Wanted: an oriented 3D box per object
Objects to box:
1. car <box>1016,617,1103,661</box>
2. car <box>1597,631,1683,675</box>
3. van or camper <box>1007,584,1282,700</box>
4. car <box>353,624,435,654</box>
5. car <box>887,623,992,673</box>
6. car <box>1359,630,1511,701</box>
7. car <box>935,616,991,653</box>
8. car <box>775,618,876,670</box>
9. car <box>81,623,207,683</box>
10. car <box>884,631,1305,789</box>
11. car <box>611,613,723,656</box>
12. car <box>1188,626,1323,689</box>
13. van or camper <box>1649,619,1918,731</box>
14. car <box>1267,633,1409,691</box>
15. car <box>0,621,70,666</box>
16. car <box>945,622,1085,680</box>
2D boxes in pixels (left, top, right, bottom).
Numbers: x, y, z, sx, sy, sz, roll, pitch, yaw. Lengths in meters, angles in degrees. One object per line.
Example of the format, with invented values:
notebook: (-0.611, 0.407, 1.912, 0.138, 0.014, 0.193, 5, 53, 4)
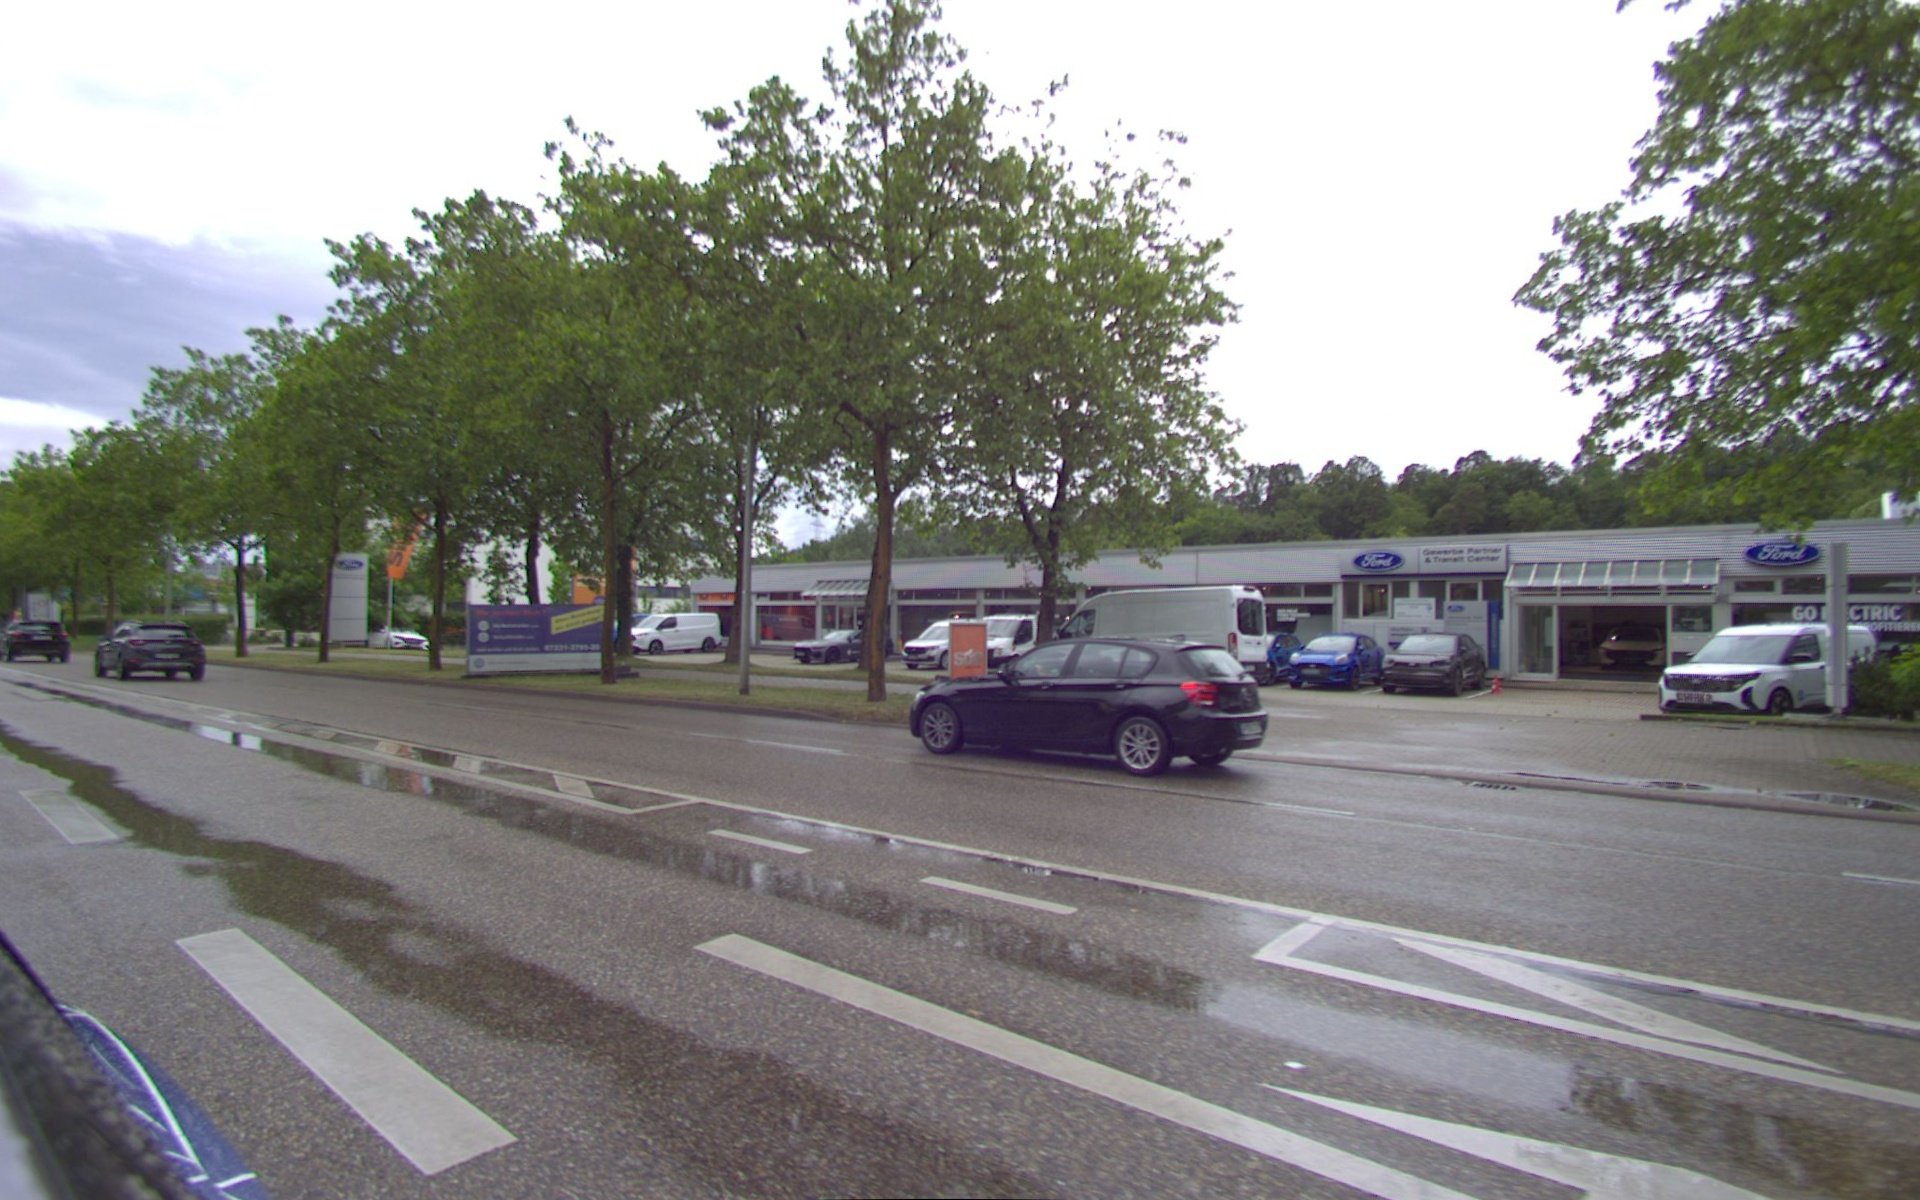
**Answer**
car: (4.300, 1.652, 43.221, 1.863, 1.780, 3.947, -1, -2, 39)
car: (23.606, 1.791, 35.085, 1.865, 1.450, 3.943, -2, -2, 43)
van or camper: (4.331, 0.965, 24.613, 6.392, 2.489, 1.975, -1, -1, 38)
car: (-30.026, 2.055, 53.606, 5.243, 1.507, 2.096, -1, -3, 41)
car: (-0.725, 1.769, 38.326, 1.880, 1.780, 3.948, -1, -2, 39)
car: (12.787, 1.705, 27.195, 3.932, 1.780, 1.870, 1, -2, -33)
car: (0.193, 1.764, 52.435, 1.895, 1.757, 3.866, -1, 0, 16)
car: (-5.542, 1.808, 42.088, 1.880, 2.029, 3.948, -1, -2, 39)
car: (-21.447, 1.359, 26.560, 4.175, 1.473, 1.650, -1, -3, 38)
car: (1.367, 1.095, 11.494, 4.533, 1.440, 1.719, -1, -3, 39)
car: (-14.398, 1.708, 49.973, 2.127, 2.029, 4.995, -1, -2, 39)
car: (8.994, 1.707, 30.729, 3.933, 1.780, 1.870, 1, -2, -34)
van or camper: (14.747, 1.269, 18.109, 4.566, 1.798, 1.845, 1, -2, -24)
car: (10.782, 1.704, 28.809, 3.933, 1.532, 1.870, 1, -2, -34)
car: (-34.326, 1.604, 37.307, 3.857, 1.543, 1.744, -1, -4, 42)
car: (2.063, 1.757, 35.994, 2.412, 1.918, 5.324, -1, -2, 38)
